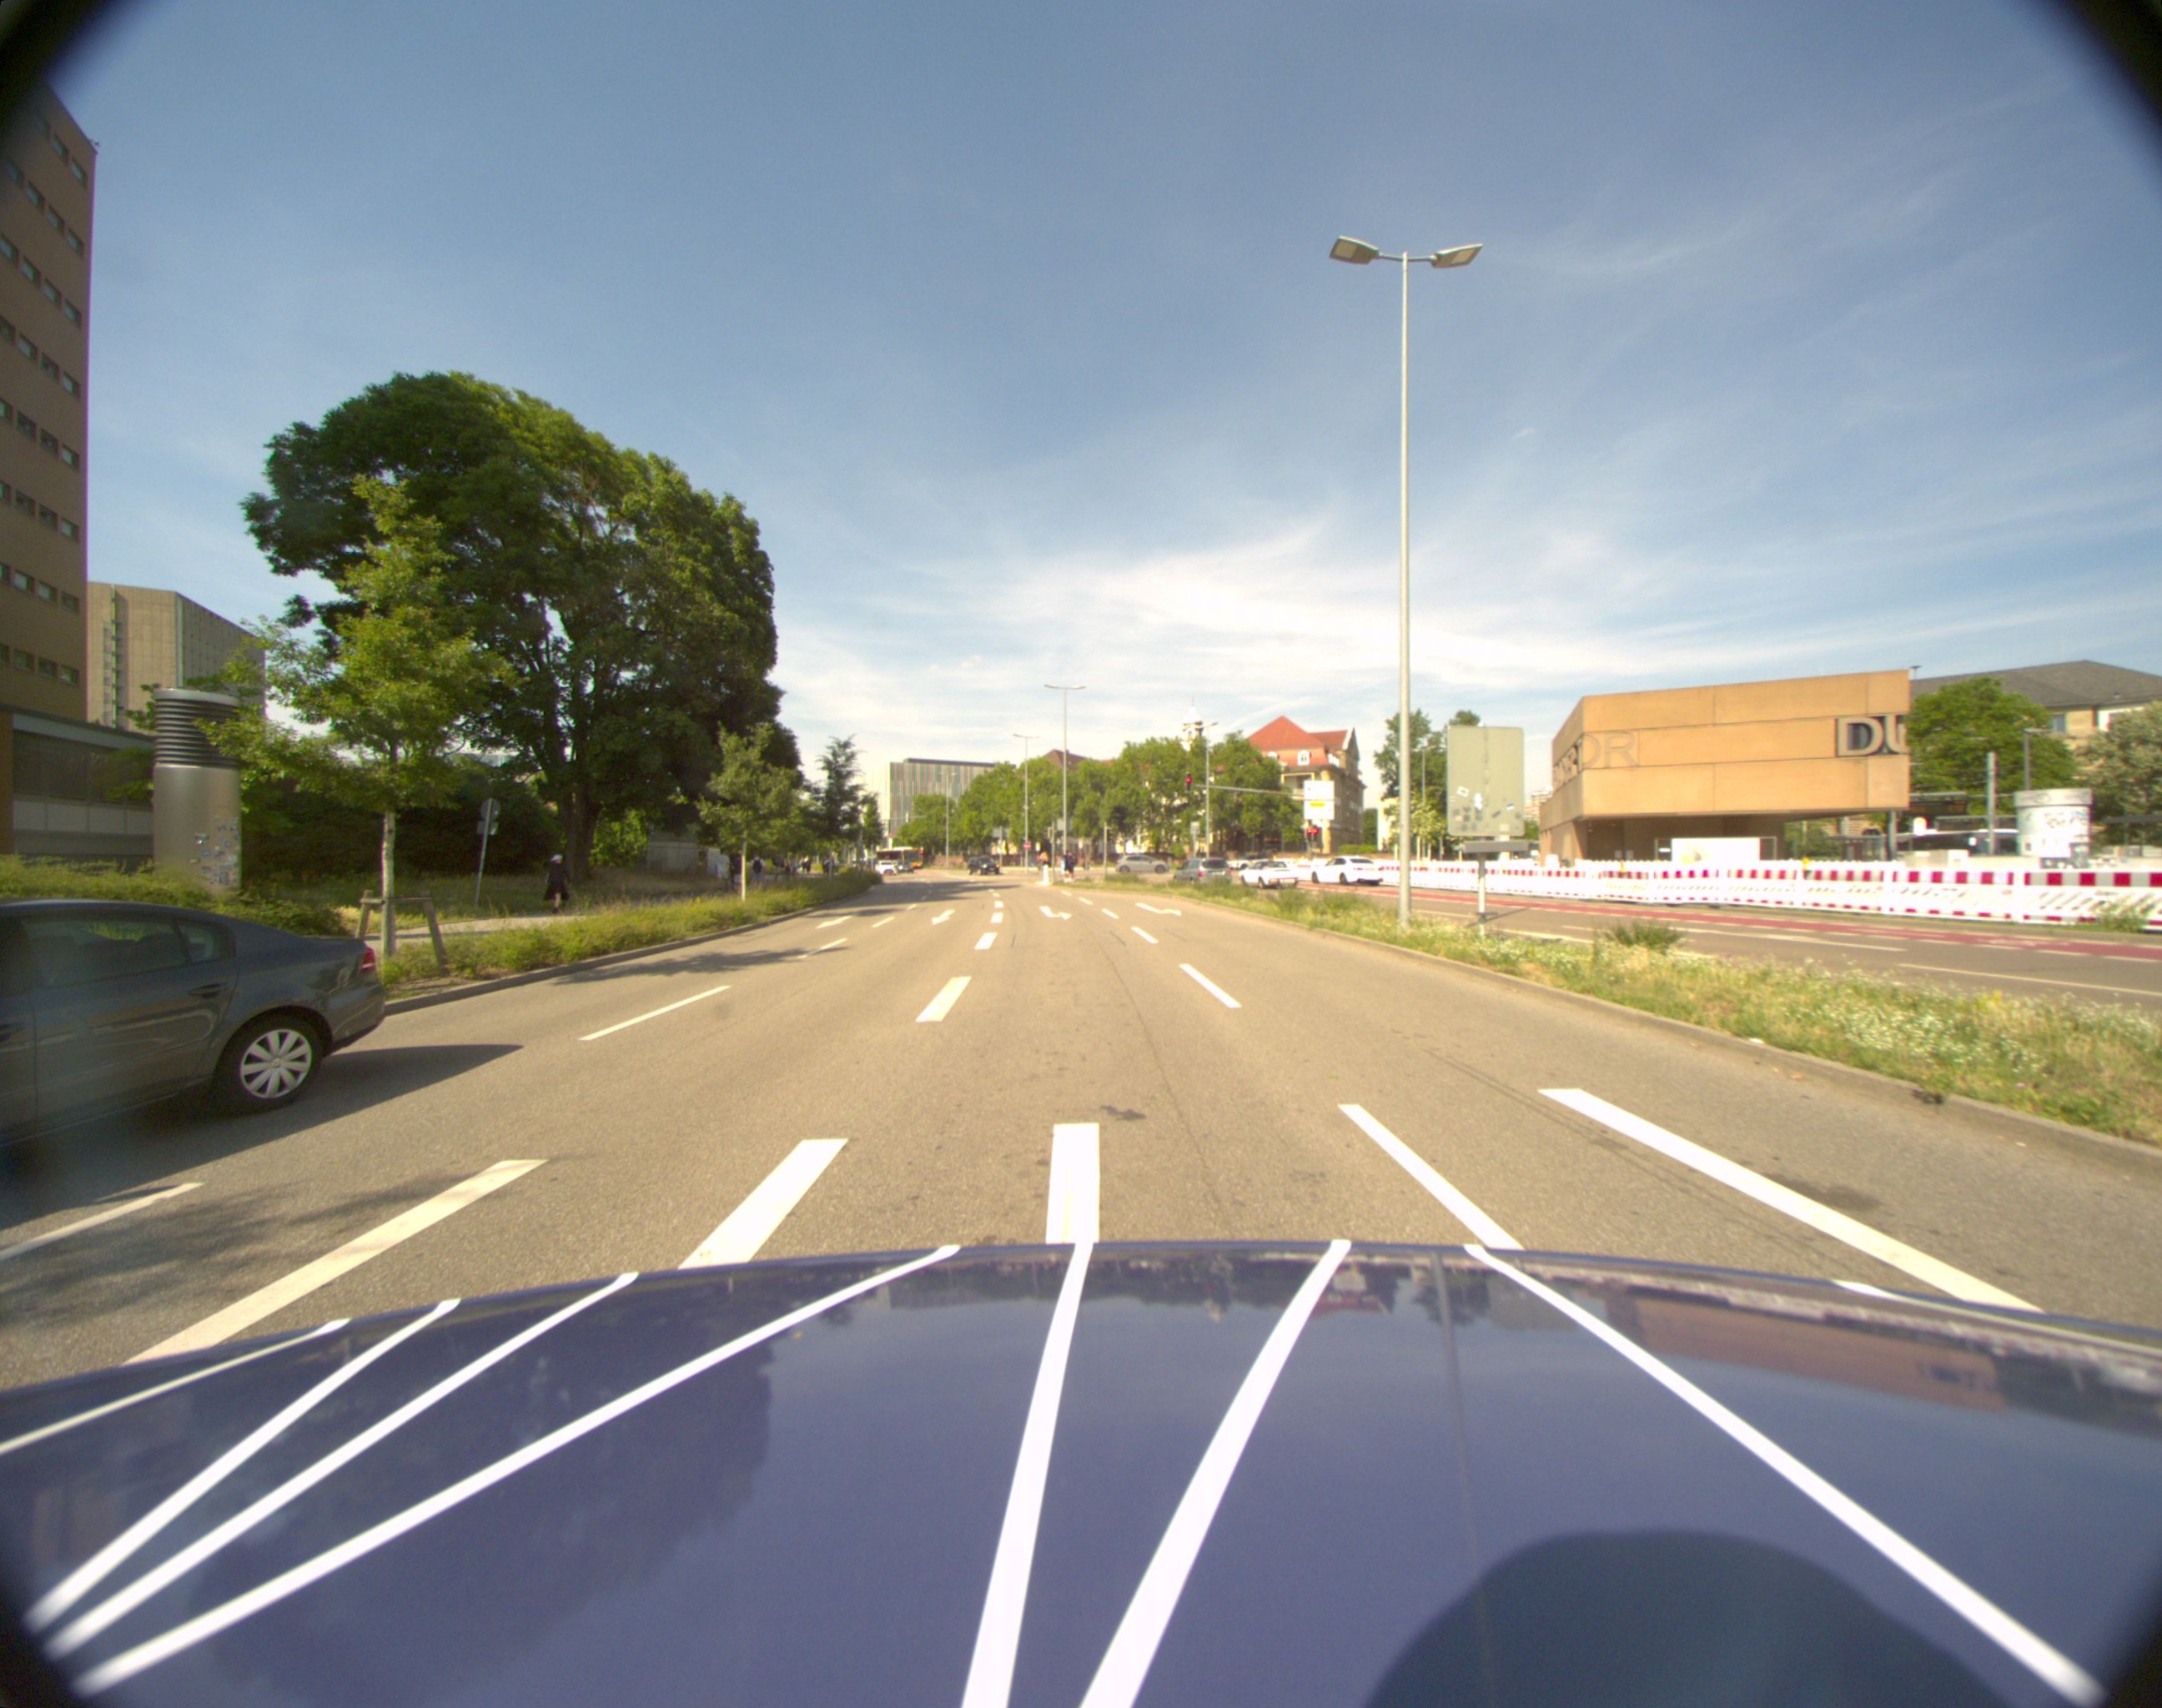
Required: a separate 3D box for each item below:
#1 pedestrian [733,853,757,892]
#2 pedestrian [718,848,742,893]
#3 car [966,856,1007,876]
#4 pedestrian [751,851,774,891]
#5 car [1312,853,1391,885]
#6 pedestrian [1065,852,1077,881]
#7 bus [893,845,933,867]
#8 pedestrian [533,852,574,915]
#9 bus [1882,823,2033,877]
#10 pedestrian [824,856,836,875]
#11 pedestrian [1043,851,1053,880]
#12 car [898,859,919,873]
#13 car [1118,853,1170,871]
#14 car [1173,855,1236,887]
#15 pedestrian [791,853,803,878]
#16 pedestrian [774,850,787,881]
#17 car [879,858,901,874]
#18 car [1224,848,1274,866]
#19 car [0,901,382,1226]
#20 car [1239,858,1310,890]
[{"bbox_3d":[-14.130,0.763,31.984,0.643,1.617,0.731,1,1,1],"label":"pedestrian"},{"bbox_3d":[-14.784,0.685,31.987,0.643,1.827,0.731,1,1,1],"label":"pedestrian"},{"bbox_3d":[-8.667,1.062,69.239,1.762,1.719,4.102,-3,1,-38],"label":"car"},{"bbox_3d":[-13.621,0.705,32.483,0.643,1.664,0.752,1,1,1],"label":"pedestrian"},{"bbox_3d":[13.119,0.691,37.105,1.804,1.412,3.996,-2,1,-10],"label":"car"},{"bbox_3d":[-0.582,0.723,44.569,0.643,1.664,0.752,0,0,1],"label":"pedestrian"},{"bbox_3d":[-24.347,0.251,109.600,2.801,3.020,12.122,0,0,-26],"label":"bus"},{"bbox_3d":[-14.443,0.795,20.810,0.592,1.654,0.731,1,1,1],"label":"pedestrian"},{"bbox_3d":[59.553,-0.227,52.117,2.751,3.303,11.811,0,0,28],"label":"bus"},{"bbox_3d":[-15.834,0.732,47.992,0.644,1.125,0.751,1,1,-15],"label":"pedestrian"},{"bbox_3d":[-1.896,0.659,43.767,0.541,1.664,0.752,0,0,1],"label":"pedestrian"},{"bbox_3d":[-19.312,1.308,84.990,1.653,1.416,4.112,-3,1,-22],"label":"car"},{"bbox_3d":[5.000,0.612,60.309,4.093,1.427,1.835,0,0,5],"label":"car"},{"bbox_3d":[5.662,0.741,35.222,1.600,1.279,3.996,-2,1,-10],"label":"car"},{"bbox_3d":[-16.371,0.659,43.782,0.644,1.438,0.568,1,1,-20],"label":"pedestrian"},{"bbox_3d":[-17.179,0.682,43.457,0.644,1.754,0.474,1,1,-20],"label":"pedestrian"},{"bbox_3d":[-19.362,1.162,76.908,1.684,1.466,3.753,-3,1,-20],"label":"car"},{"bbox_3d":[15.278,0.268,69.032,4.118,1.435,1.756,-3,1,-25],"label":"car"},{"bbox_3d":[-6.062,1.108,3.414,1.635,1.427,4.528,-1,1,-1],"label":"car"},{"bbox_3d":[8.798,0.890,34.853,1.600,1.279,3.996,-2,1,-10],"label":"car"}]
